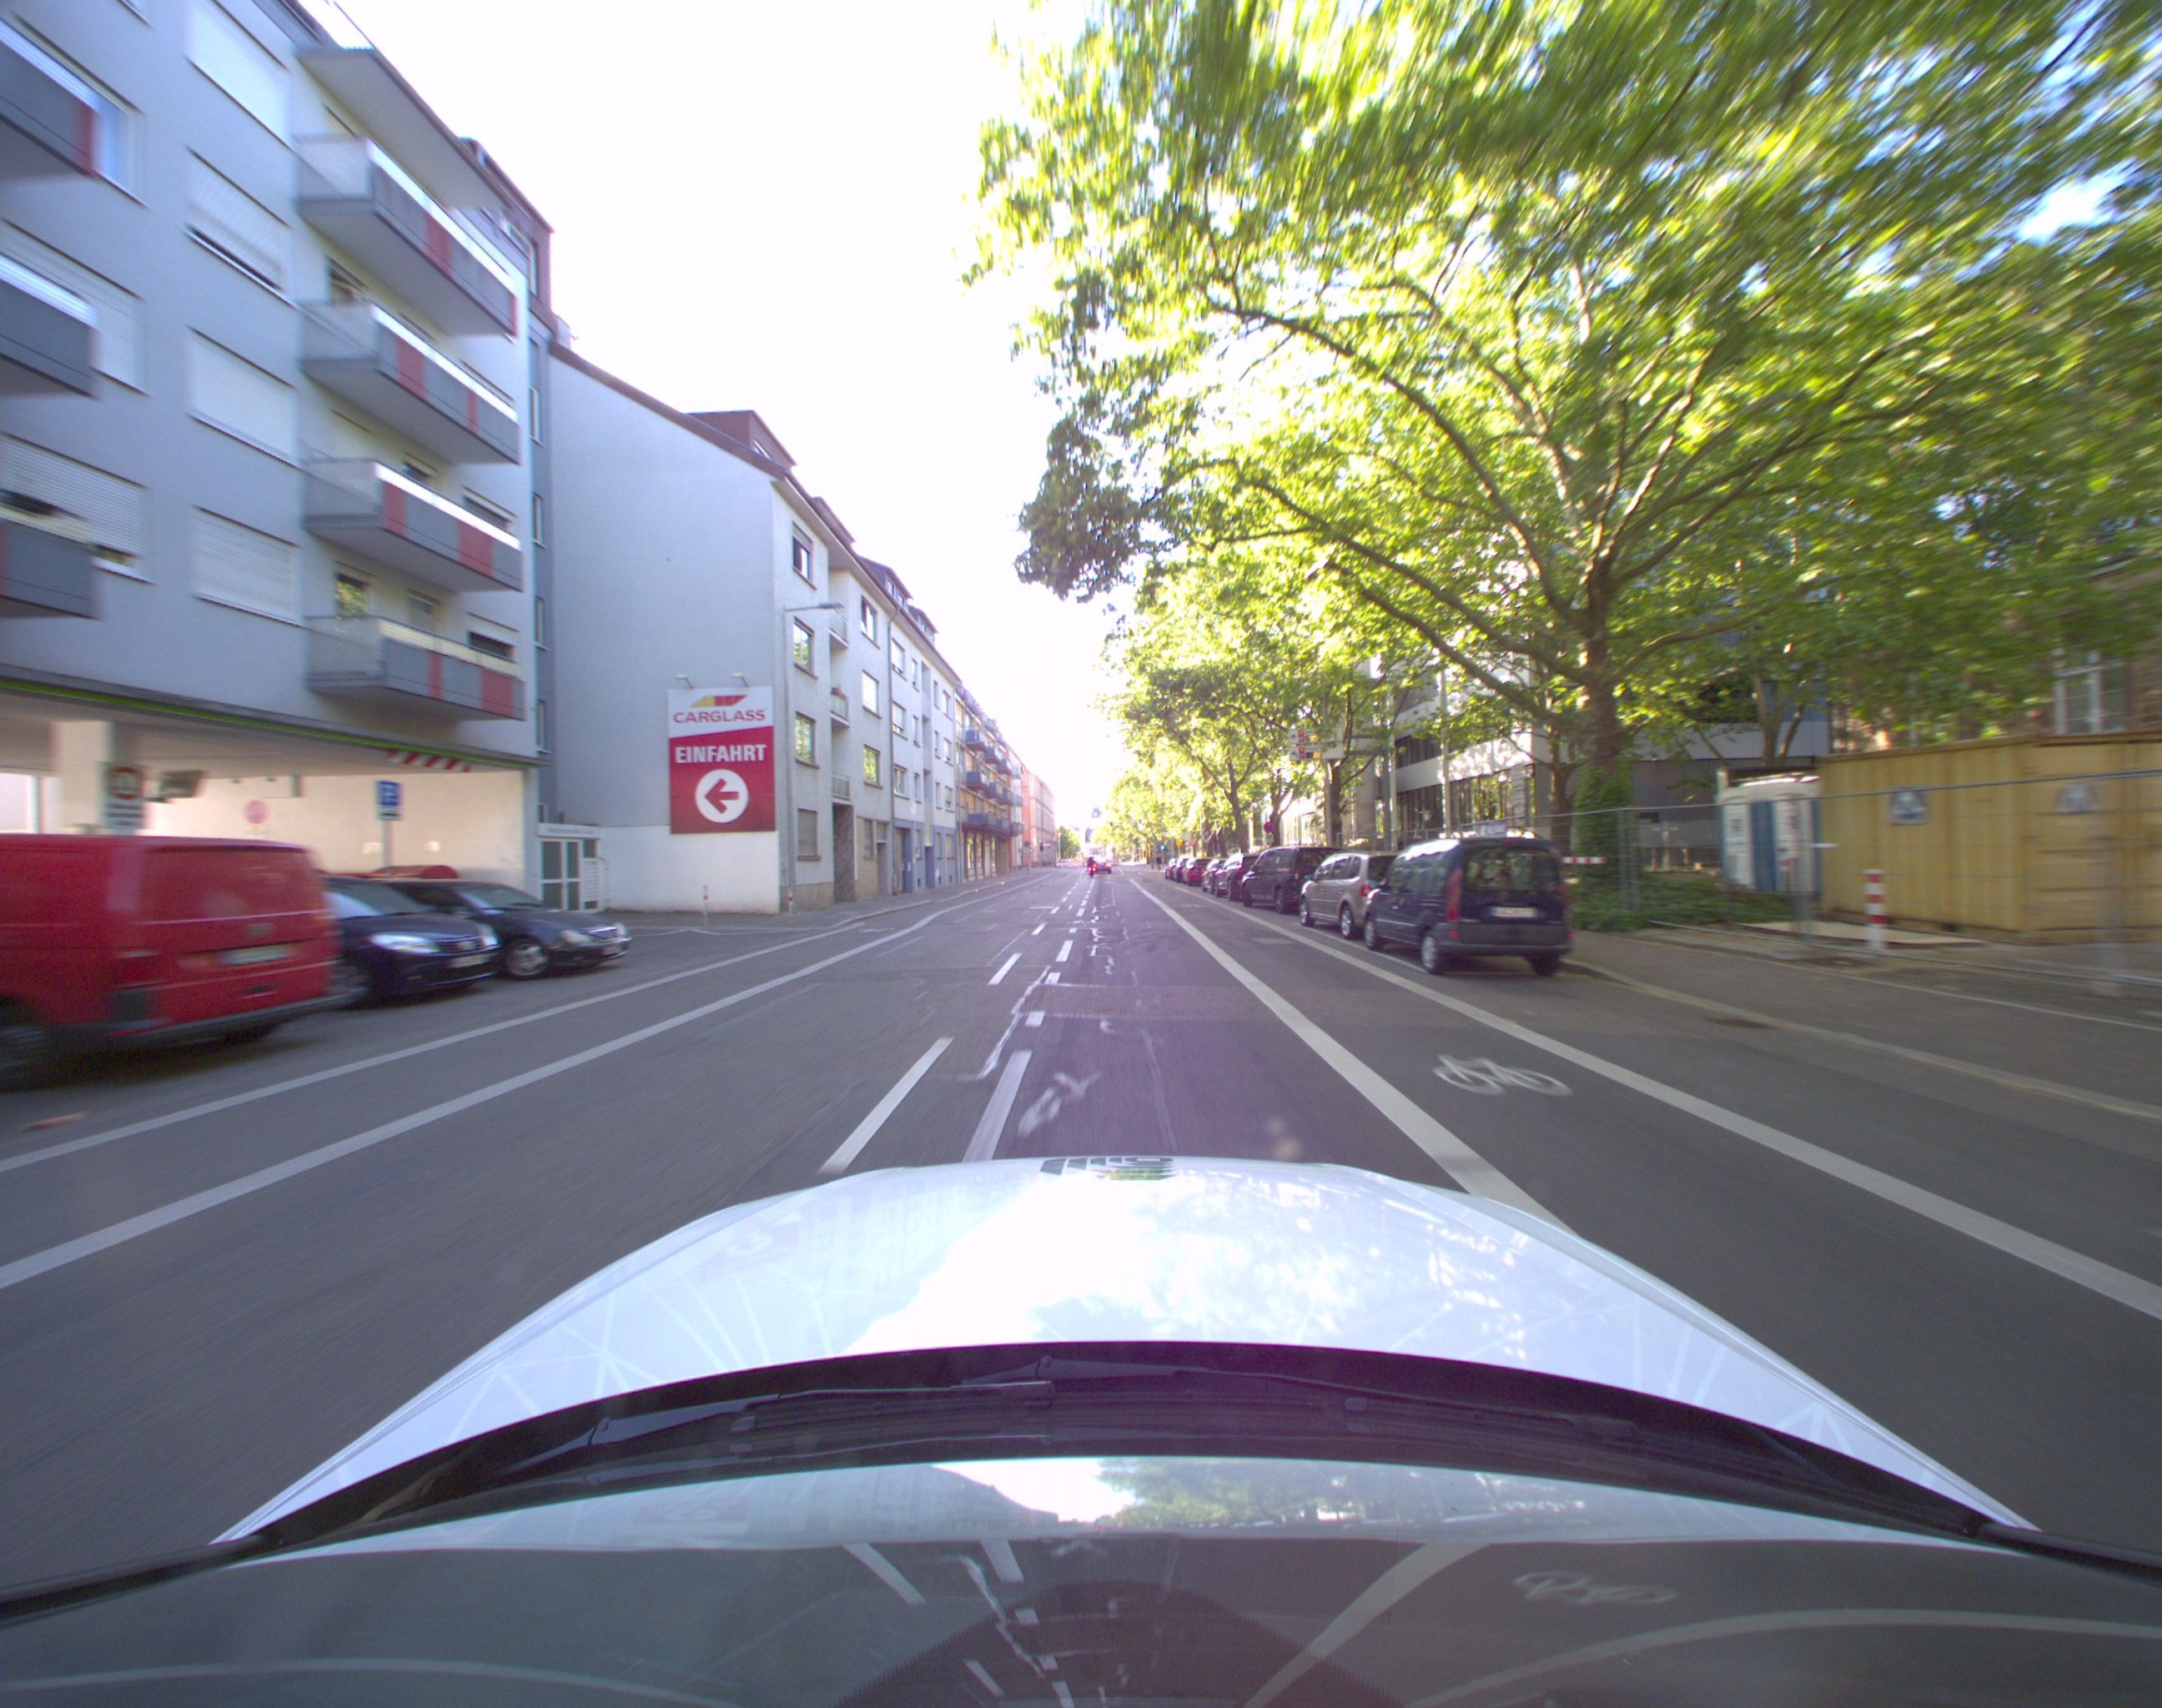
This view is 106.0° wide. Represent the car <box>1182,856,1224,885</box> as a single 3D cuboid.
[{"bbox_3d":[6.402,0.829,43.023,1.686,1.479,4.320,0,0,1],"label":"car"}]

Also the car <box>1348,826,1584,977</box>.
[{"bbox_3d":[5.354,0.582,11.956,1.686,1.813,4.133,0,0,3],"label":"car"}]

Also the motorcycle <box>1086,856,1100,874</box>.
[{"bbox_3d":[0.935,0.819,62.161,1.009,1.306,2.673,-2,0,1],"label":"motorcycle"}]

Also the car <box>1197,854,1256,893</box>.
[{"bbox_3d":[5.968,0.752,33.745,1.688,1.503,4.018,0,0,-1],"label":"car"}]

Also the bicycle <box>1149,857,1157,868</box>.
[{"bbox_3d":[7.808,0.930,88.156,0.654,1.111,2.186,0,-1,1],"label":"bicycle"}]

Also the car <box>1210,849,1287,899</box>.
[{"bbox_3d":[5.793,0.652,28.707,1.770,1.628,4.620,0,0,0],"label":"car"}]

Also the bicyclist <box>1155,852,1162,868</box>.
[{"bbox_3d":[7.543,0.610,79.471,0.654,1.530,0.852,0,-1,1],"label":"bicyclist"}]

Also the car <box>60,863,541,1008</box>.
[{"bbox_3d":[-9.482,0.928,10.173,4.158,1.563,1.887,1,0,1],"label":"car"}]

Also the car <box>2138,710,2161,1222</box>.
[{"bbox_3d":[5.265,0.436,0.681,2.072,1.994,5.170,0,0,-1],"label":"car"}]

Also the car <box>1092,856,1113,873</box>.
[{"bbox_3d":[1.893,0.951,73.204,1.822,1.420,3.815,-1,0,1],"label":"car"}]

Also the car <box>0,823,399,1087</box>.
[{"bbox_3d":[-9.133,0.723,7.172,4.405,1.951,2.147,1,0,1],"label":"car"}]

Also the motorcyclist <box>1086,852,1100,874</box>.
[{"bbox_3d":[0.912,0.667,62.084,1.009,1.602,1.406,-2,0,1],"label":"motorcyclist"}]

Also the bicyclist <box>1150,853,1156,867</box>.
[{"bbox_3d":[7.804,0.627,88.142,0.654,1.530,0.906,0,-1,1],"label":"bicyclist"}]

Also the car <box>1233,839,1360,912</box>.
[{"bbox_3d":[5.965,0.562,23.199,1.823,1.841,4.888,1,0,-7],"label":"car"}]

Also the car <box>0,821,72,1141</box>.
[{"bbox_3d":[-8.846,0.742,4.281,4.506,1.951,2.057,1,0,1],"label":"car"}]

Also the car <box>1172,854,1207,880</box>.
[{"bbox_3d":[6.433,0.740,48.541,1.686,1.466,4.068,0,0,2],"label":"car"}]

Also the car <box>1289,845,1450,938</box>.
[{"bbox_3d":[5.646,0.667,16.518,1.688,1.628,4.328,0,0,-1],"label":"car"}]

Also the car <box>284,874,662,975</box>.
[{"bbox_3d":[-9.077,1.012,12.472,4.213,1.380,2.046,0,-1,1],"label":"car"}]

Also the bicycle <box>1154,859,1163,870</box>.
[{"bbox_3d":[7.546,1.057,79.477,0.654,1.070,1.927,0,-1,1],"label":"bicycle"}]

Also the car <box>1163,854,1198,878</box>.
[{"bbox_3d":[6.487,0.753,53.412,1.688,1.449,4.434,0,0,-1],"label":"car"}]

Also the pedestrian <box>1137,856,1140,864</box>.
[{"bbox_3d":[11.880,1.190,168.510,0.590,1.578,0.527,0,-1,1],"label":"pedestrian"}]

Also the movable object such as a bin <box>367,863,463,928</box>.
[{"bbox_3d":[-15.319,0.938,18.769,1.273,1.401,1.090,-2,0,1],"label":"movable object such as a bin"}]
